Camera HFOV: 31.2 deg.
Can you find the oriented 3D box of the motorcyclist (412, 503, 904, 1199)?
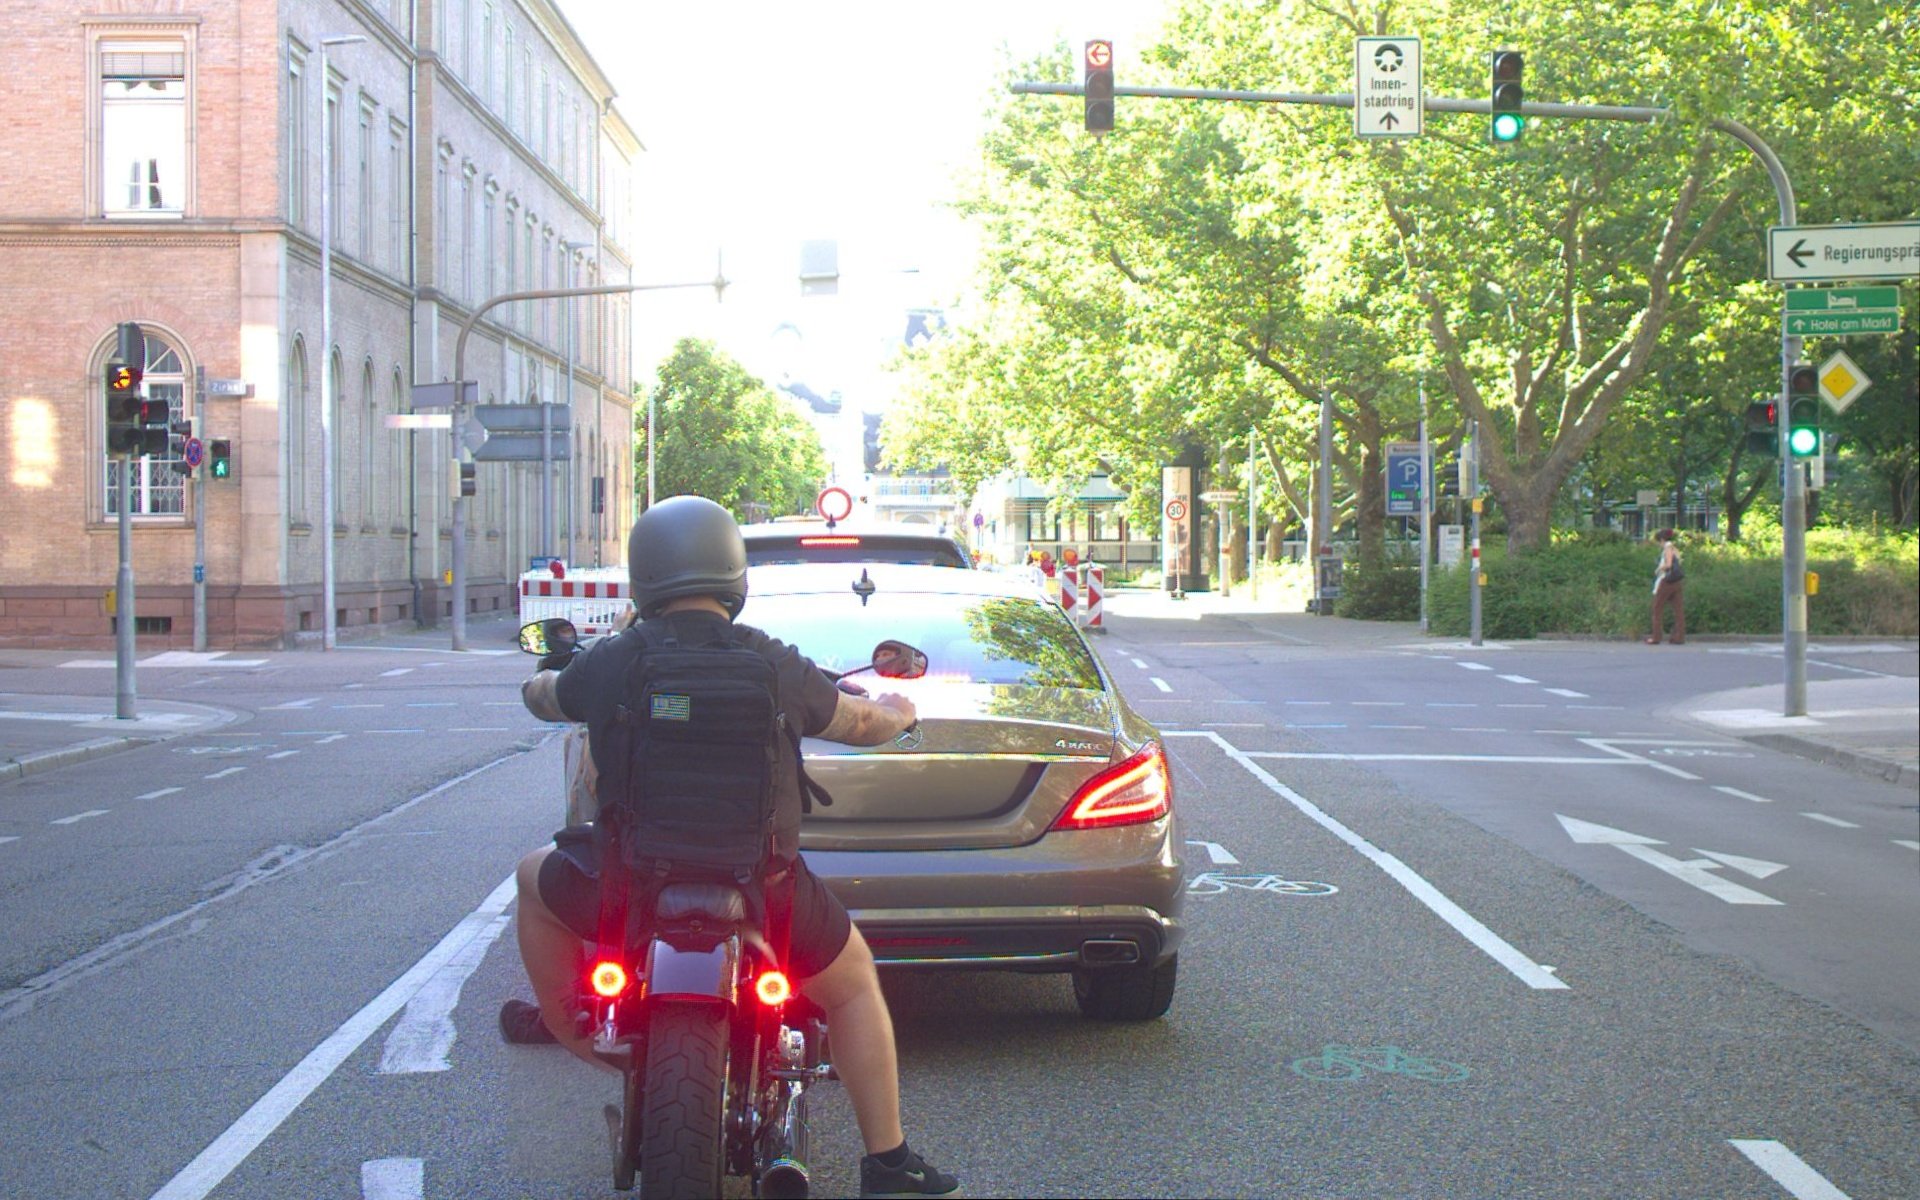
[{"bbox_3d":[-0.616,0.581,7.533,0.980,1.573,1.248,0,1,-1],"label":"motorcyclist"}]

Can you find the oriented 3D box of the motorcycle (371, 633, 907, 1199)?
[{"bbox_3d":[-0.612,0.741,7.566,0.980,1.271,2.407,0,1,-1],"label":"motorcycle"}]

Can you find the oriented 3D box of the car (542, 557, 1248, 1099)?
[{"bbox_3d":[-0.431,0.589,11.624,1.869,1.439,4.431,0,1,-8],"label":"car"}]

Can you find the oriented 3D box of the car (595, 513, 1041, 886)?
[{"bbox_3d":[-0.665,0.431,17.546,1.993,1.660,4.000,1,1,-1],"label":"car"}]

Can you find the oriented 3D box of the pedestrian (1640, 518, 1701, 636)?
[{"bbox_3d":[10.738,-0.356,51.976,0.679,1.766,0.615,1,0,38],"label":"pedestrian"}]
